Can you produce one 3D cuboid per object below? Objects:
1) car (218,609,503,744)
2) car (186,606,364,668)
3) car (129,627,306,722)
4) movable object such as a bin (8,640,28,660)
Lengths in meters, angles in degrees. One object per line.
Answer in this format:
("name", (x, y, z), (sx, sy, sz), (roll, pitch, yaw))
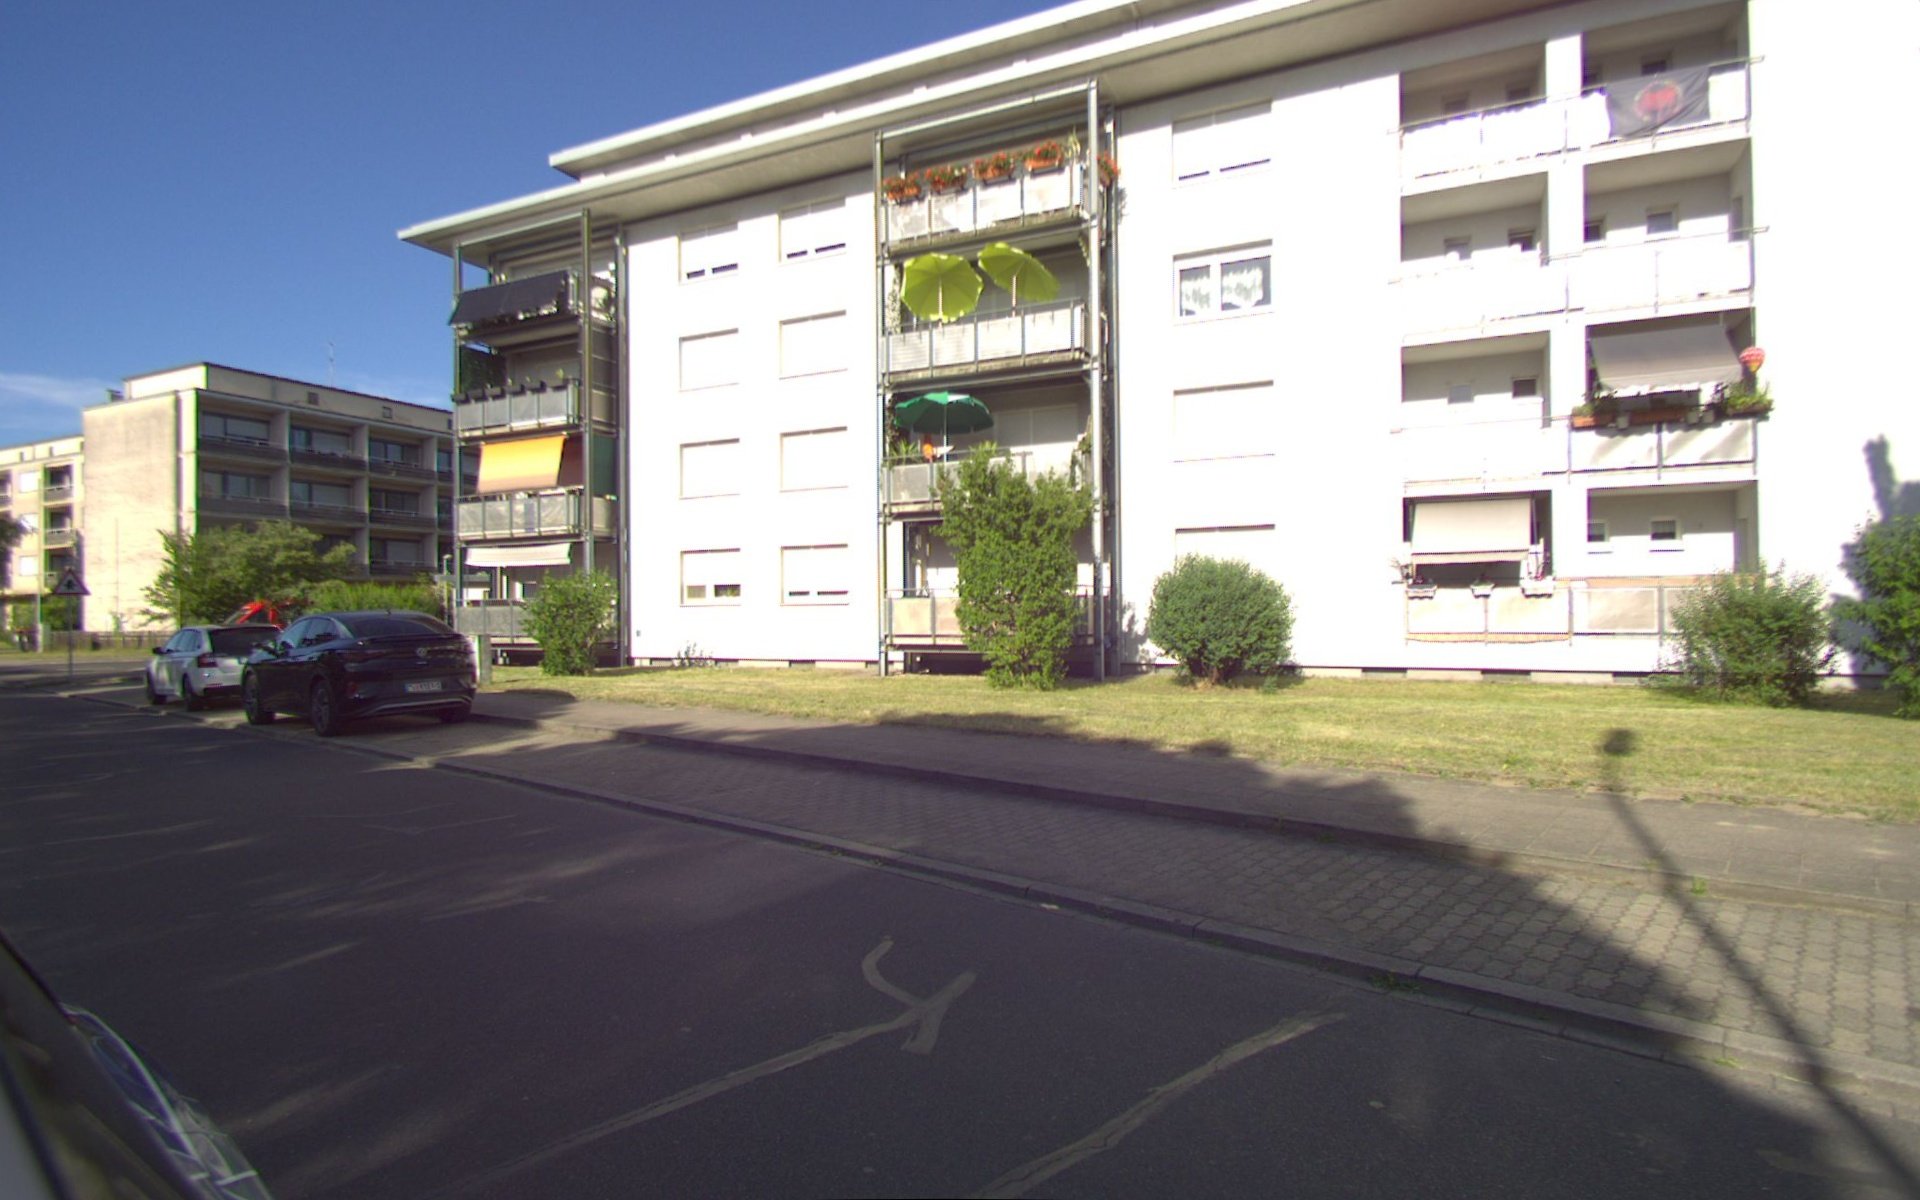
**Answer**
("car", (-8.606, 0.976, 14.352), (4.806, 1.616, 1.896), (-1, -2, 39))
("car", (-28.912, 1.559, 42.947), (2.209, 2.447, 5.851), (-4, -3, 36))
("car", (-13.587, 1.281, 18.419), (4.327, 1.478, 1.630), (-2, -1, 40))
("movable object such as a bin", (-49.342, 2.622, 53.006), (0.552, 1.061, 0.562), (-1, -1, 15))
